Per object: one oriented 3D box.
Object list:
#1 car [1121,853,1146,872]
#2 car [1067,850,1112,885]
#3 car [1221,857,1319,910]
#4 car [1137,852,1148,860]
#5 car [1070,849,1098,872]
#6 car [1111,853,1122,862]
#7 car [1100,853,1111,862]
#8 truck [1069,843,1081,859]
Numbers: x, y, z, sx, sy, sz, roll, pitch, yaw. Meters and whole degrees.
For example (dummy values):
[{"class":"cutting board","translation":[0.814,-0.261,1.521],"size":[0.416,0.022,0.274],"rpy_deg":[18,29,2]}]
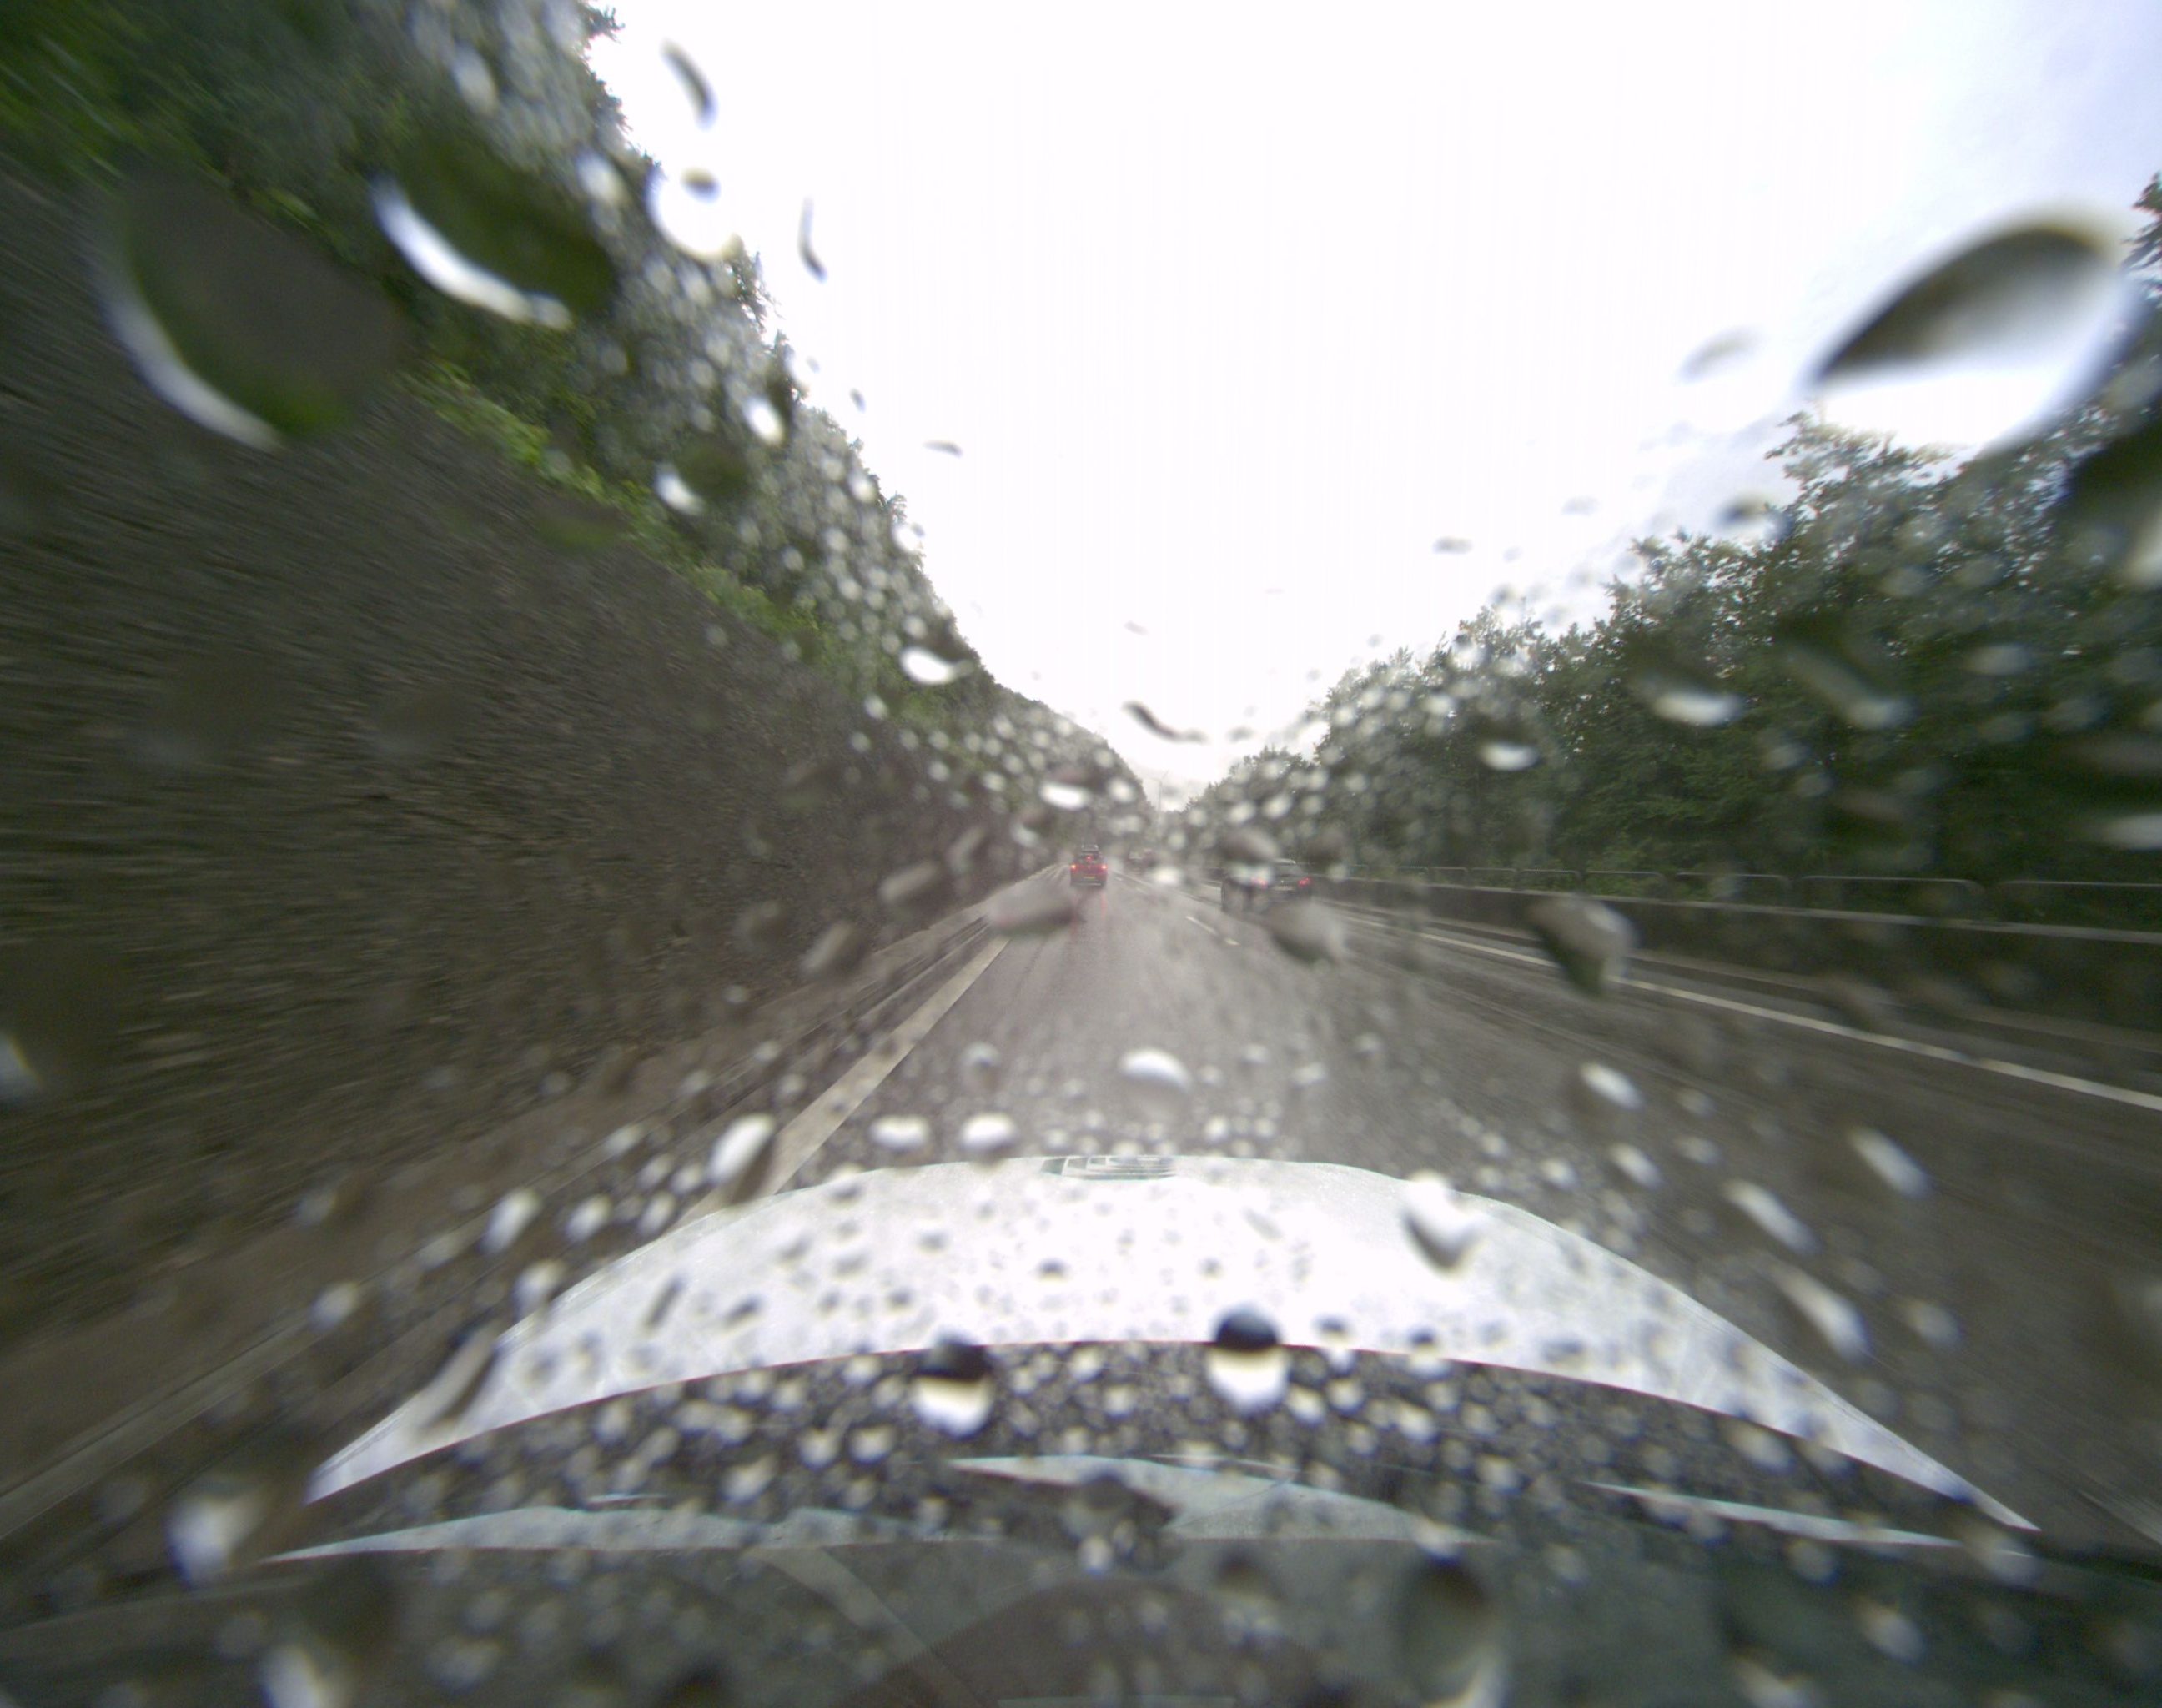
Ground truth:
[{"class":"car","translation":[4.468,0.681,70.186],"size":[1.986,1.552,4.001],"rpy_deg":[-1,0,1]},{"class":"car","translation":[0.410,0.646,39.461],"size":[1.987,1.552,3.999],"rpy_deg":[-1,-1,0]},{"class":"car","translation":[5.081,0.746,22.366],"size":[1.794,1.307,4.000],"rpy_deg":[0,0,0]},{"class":"car","translation":[16.007,0.616,212.926],"size":[2.443,2.013,4.732],"rpy_deg":[0,0,-2]},{"class":"car","translation":[0.255,0.510,61.315],"size":[1.986,1.684,4.001],"rpy_deg":[-1,-1,2]},{"class":"car","translation":[6.511,0.699,148.889],"size":[1.986,1.577,4.001],"rpy_deg":[-1,0,1]},{"class":"car","translation":[4.836,0.650,160.019],"size":[1.986,1.749,4.001],"rpy_deg":[-1,0,1]},{"class":"truck","translation":[-1.072,-0.510,147.820],"size":[1.987,2.751,5.585],"rpy_deg":[1,0,0]}]
